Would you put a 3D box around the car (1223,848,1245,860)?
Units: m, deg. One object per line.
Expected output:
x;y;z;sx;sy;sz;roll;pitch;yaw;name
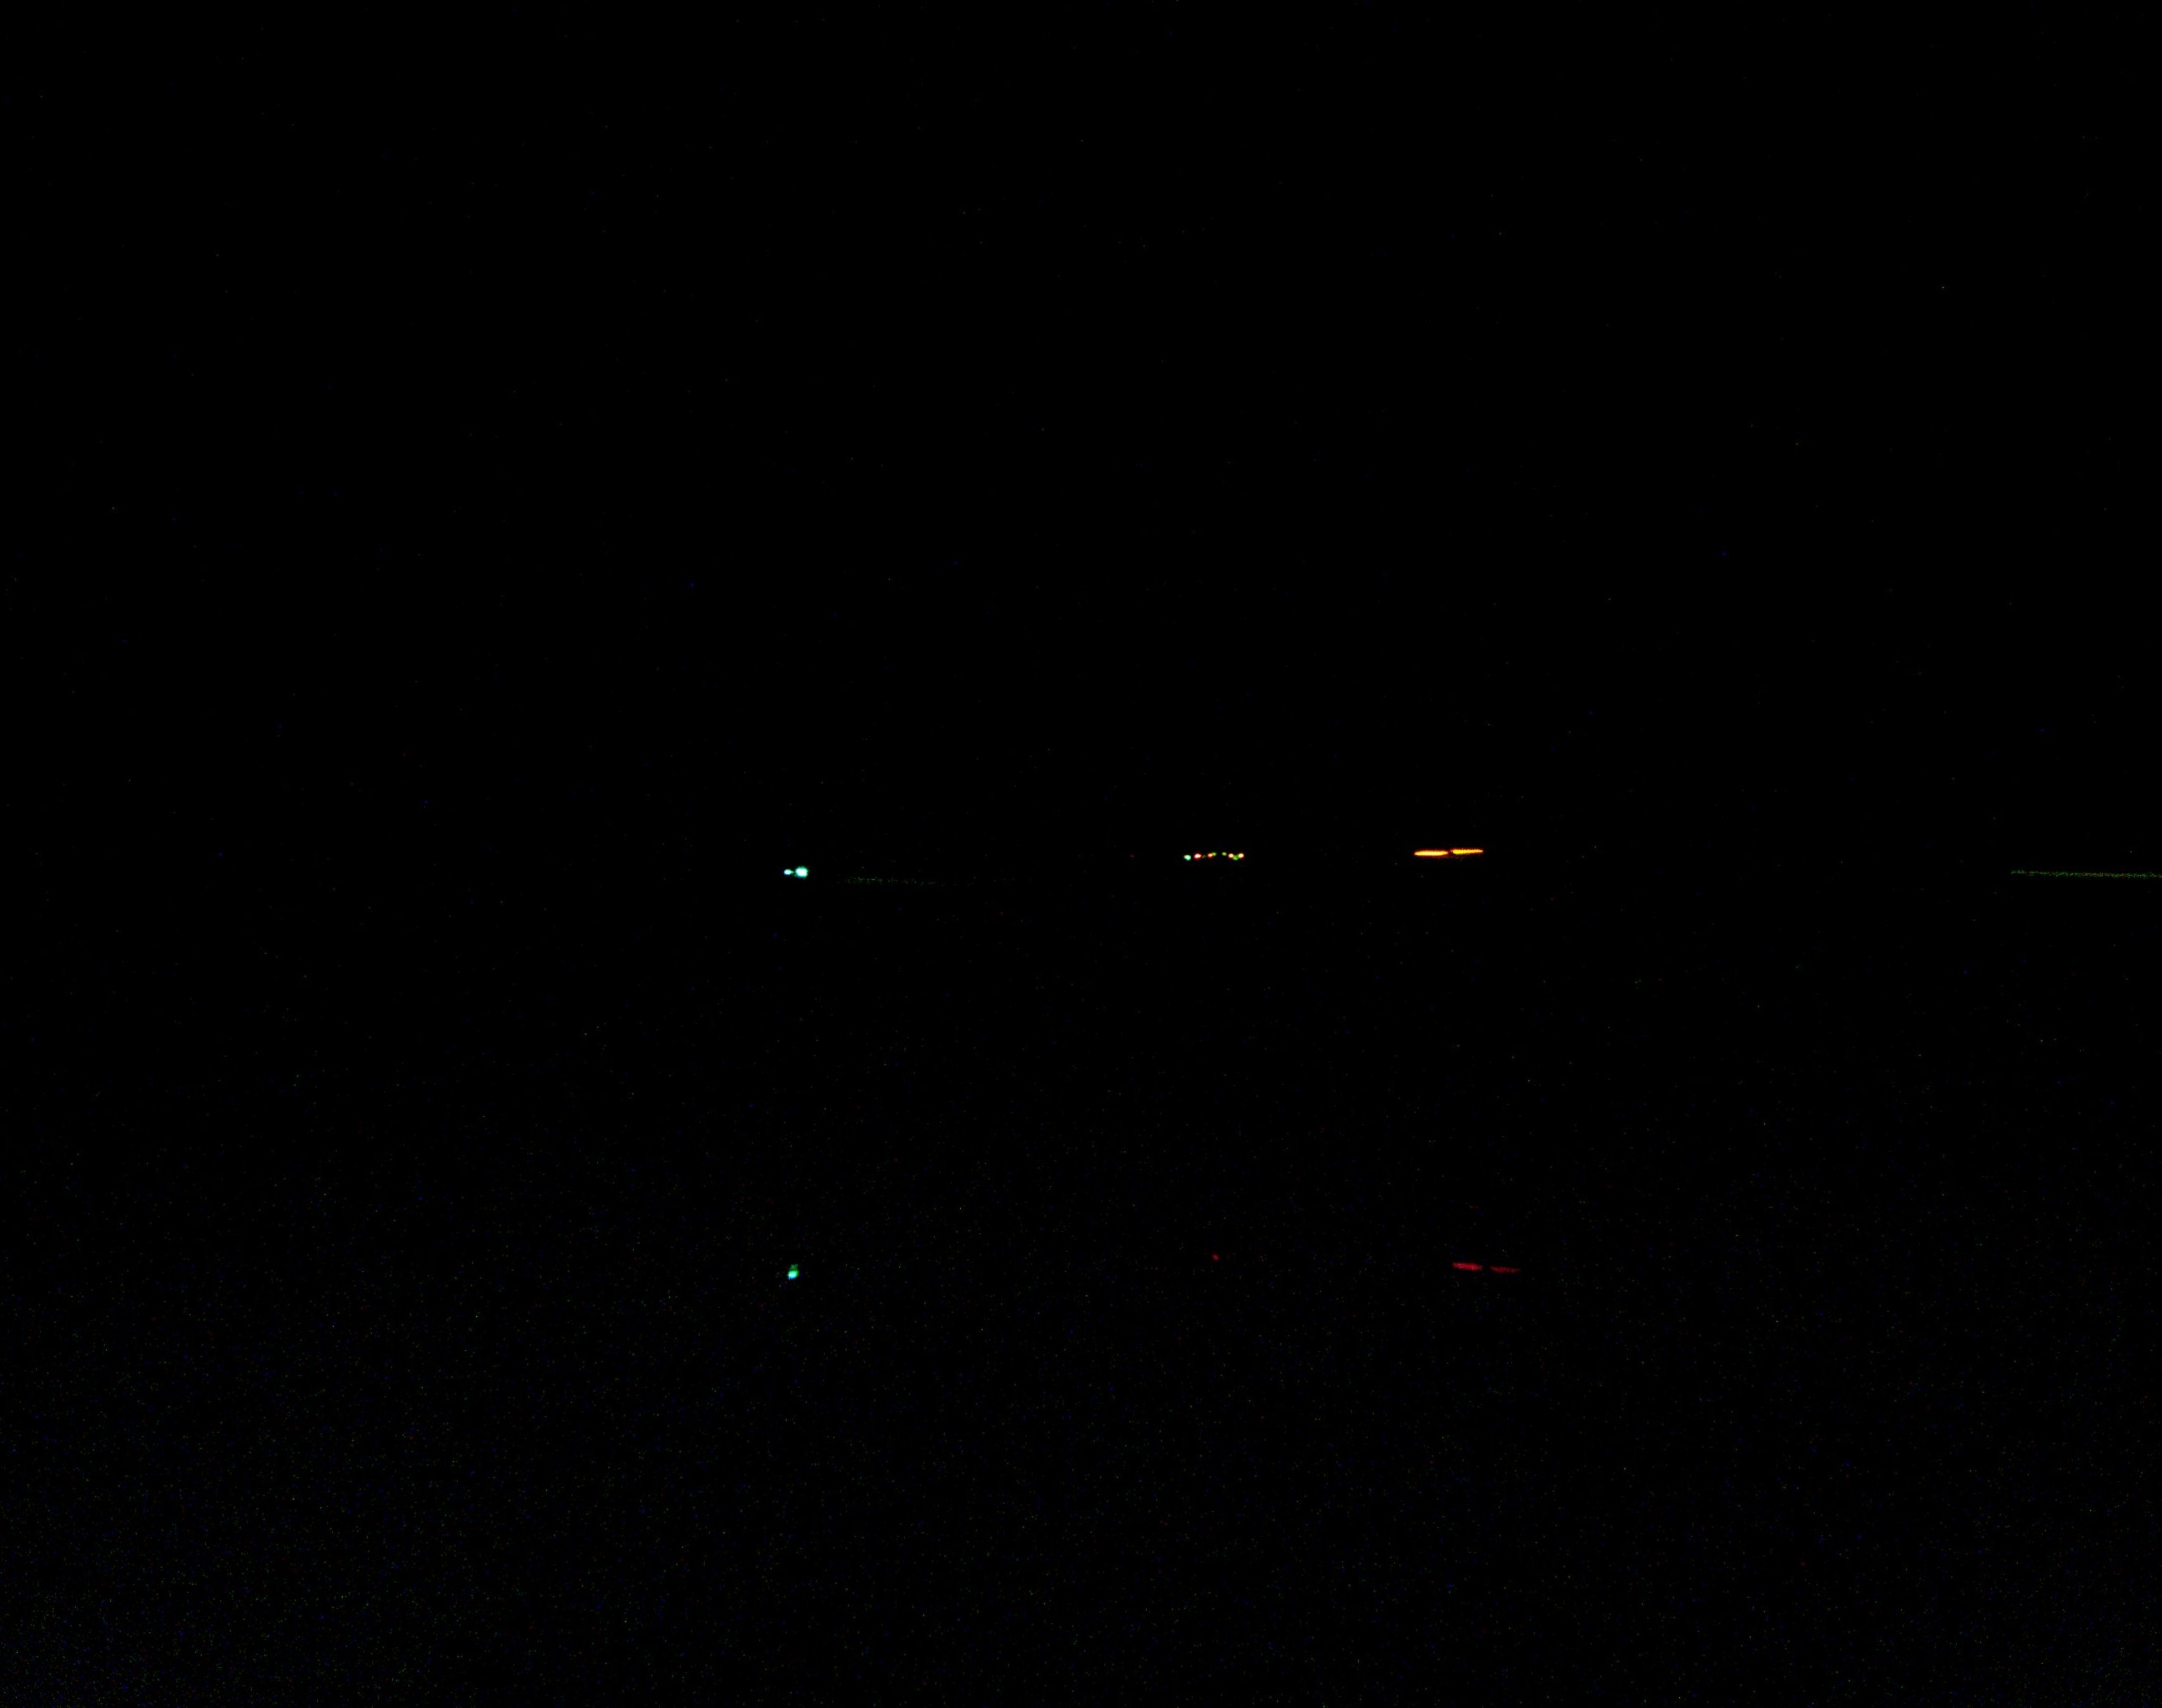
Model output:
19.263;-0.009;95.682;1.962;1.448;4.170;-2;0;2;car

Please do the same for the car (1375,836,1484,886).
13.278;0.250;29.336;1.962;1.723;5.079;-2;0;2;car

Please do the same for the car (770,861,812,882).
-29.336;1.800;76.838;3.990;1.843;2.003;-4;1;38;car

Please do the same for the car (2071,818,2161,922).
15.963;0.191;9.343;1.962;1.448;4.336;-2;0;2;car

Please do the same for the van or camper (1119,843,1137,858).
8.718;-0.559;141.556;2.301;2.602;7.662;-2;0;-4;van or camper

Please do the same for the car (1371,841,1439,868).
18.821;0.003;44.408;1.776;1.403;4.843;-4;1;-1;car

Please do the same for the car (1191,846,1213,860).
14.071;-0.114;88.693;1.962;1.448;4.471;-2;0;2;car
